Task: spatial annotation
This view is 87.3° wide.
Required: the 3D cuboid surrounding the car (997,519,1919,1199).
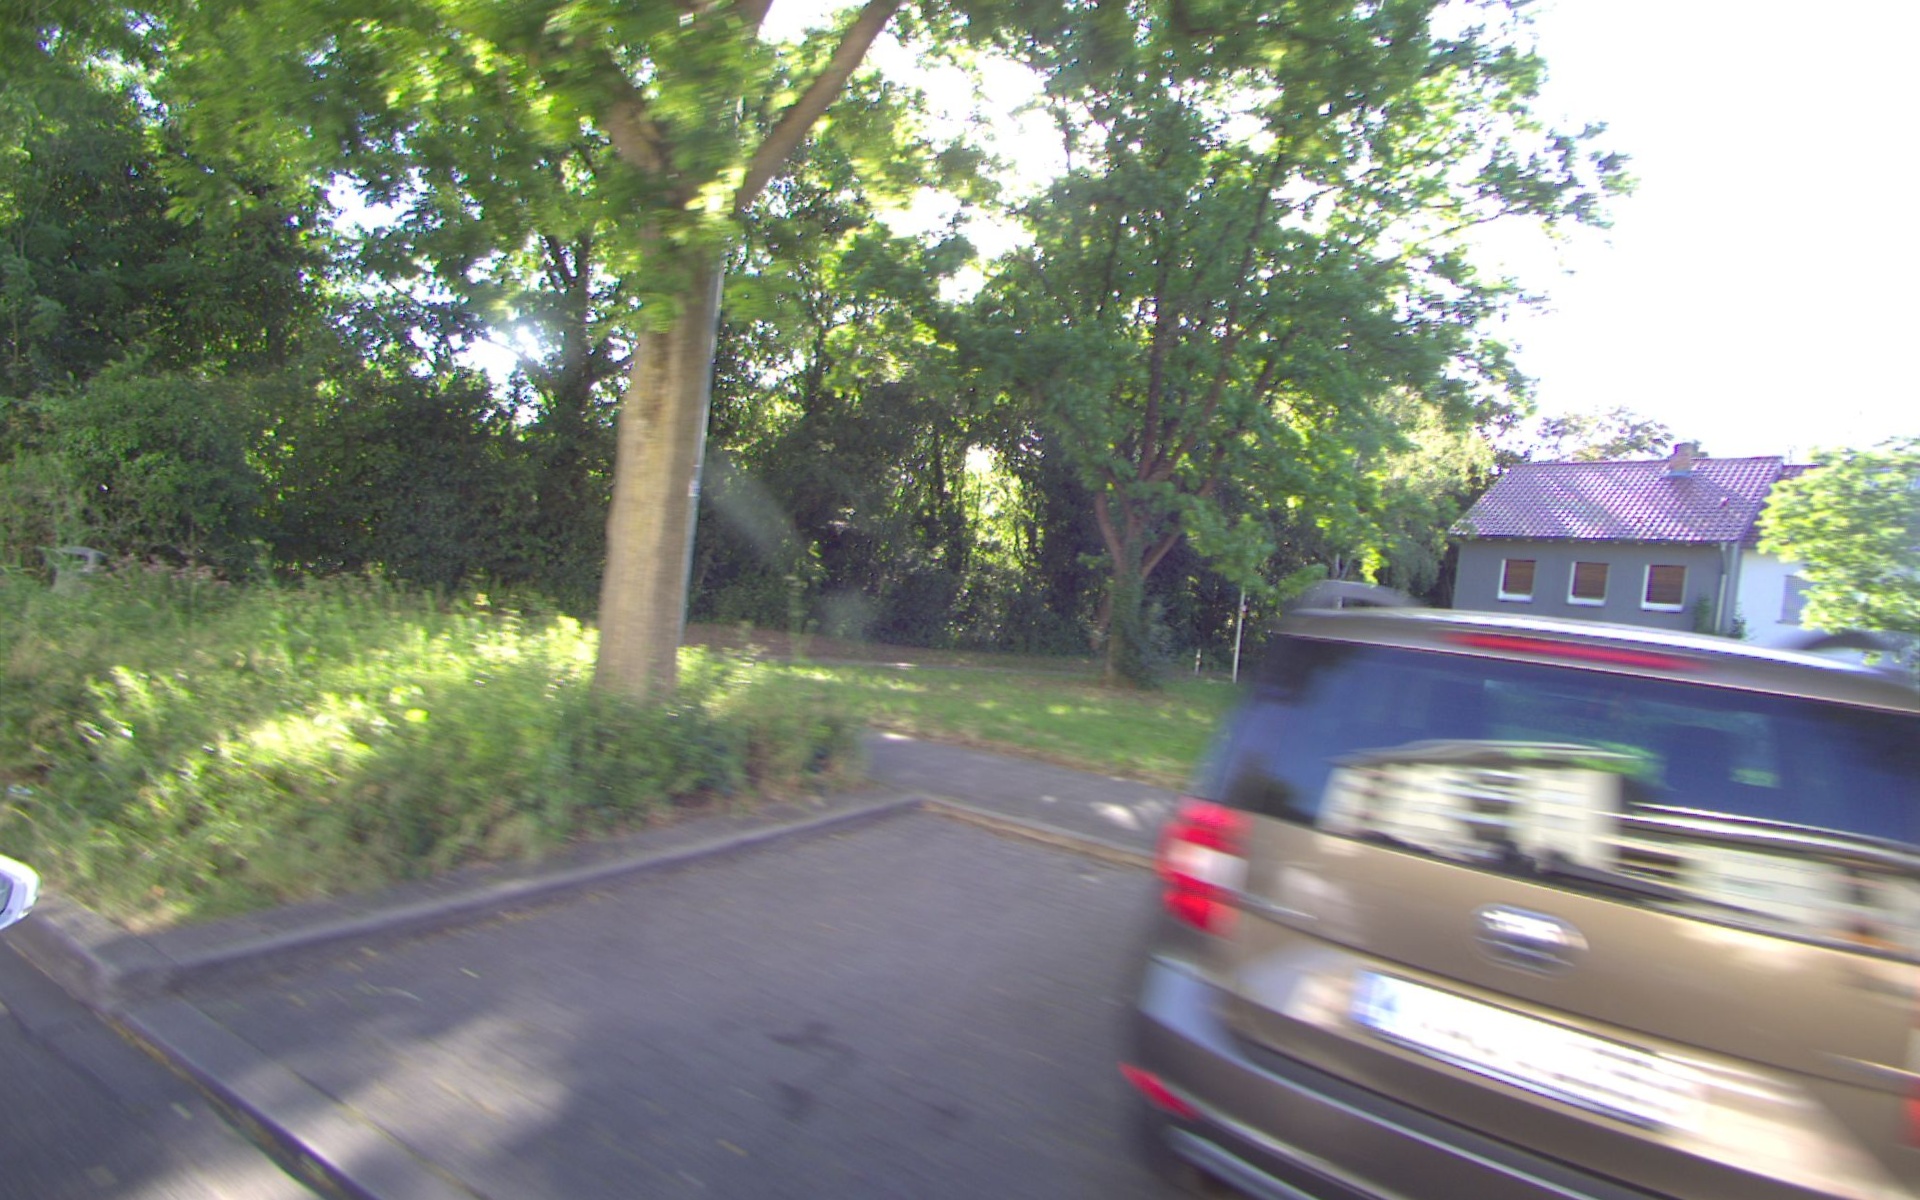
[{"bbox_3d":[1.990,0.884,3.511,1.746,1.716,4.151,7,1,33],"label":"car"}]
